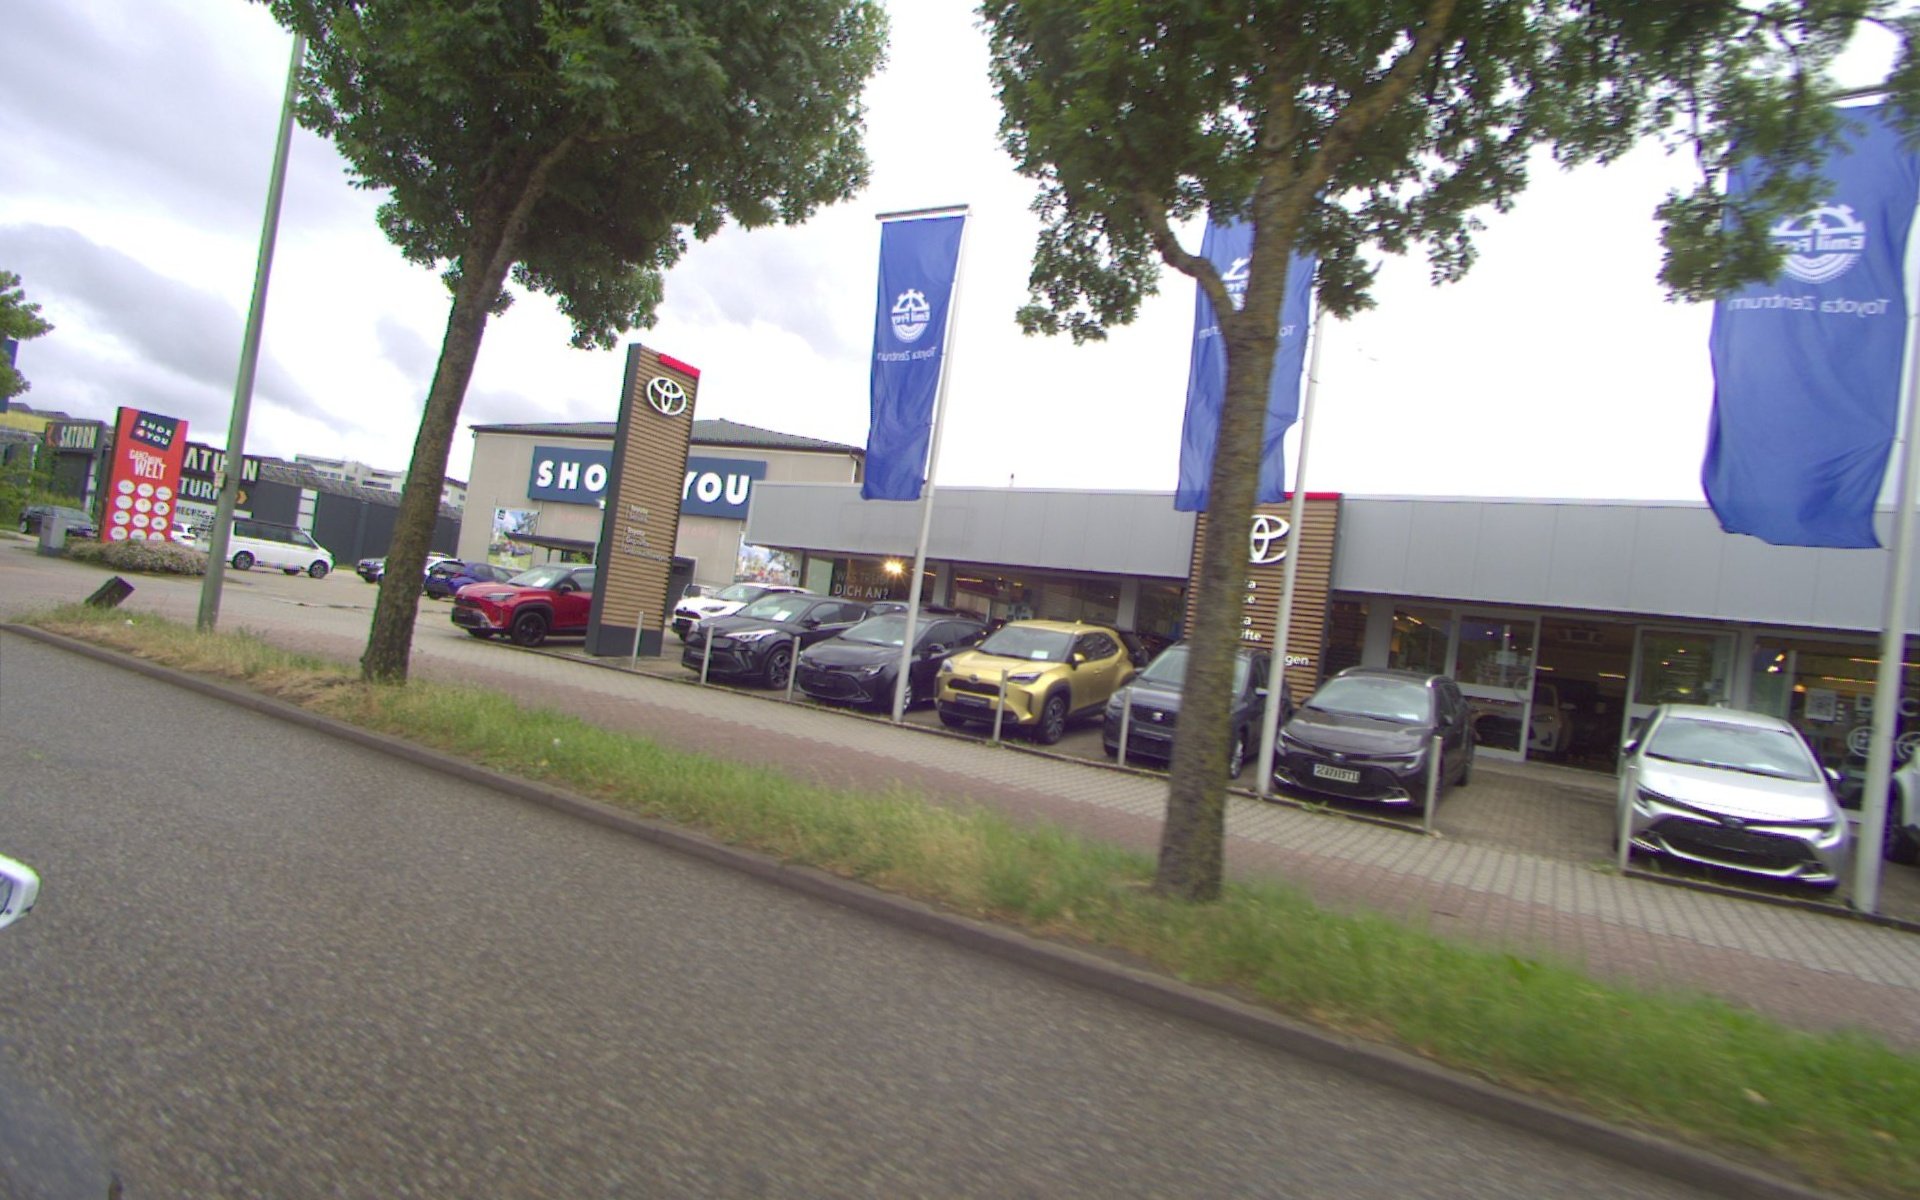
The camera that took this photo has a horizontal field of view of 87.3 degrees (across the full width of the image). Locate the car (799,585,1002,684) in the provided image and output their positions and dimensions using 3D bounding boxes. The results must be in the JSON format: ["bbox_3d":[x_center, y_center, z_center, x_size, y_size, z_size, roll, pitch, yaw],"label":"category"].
[{"bbox_3d":[-1.355,0.751,22.333,4.056,1.641,1.876,7,0,34],"label":"car"}]

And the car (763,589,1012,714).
[{"bbox_3d":[-1.000,0.893,15.981,1.771,1.556,3.993,7,-2,33],"label":"car"}]

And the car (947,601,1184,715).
[{"bbox_3d":[2.022,1.097,19.657,4.056,1.641,1.876,7,0,34],"label":"car"}]

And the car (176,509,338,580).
[{"bbox_3d":[-27.854,-2.152,40.077,1.954,2.037,4.839,7,-2,23],"label":"car"}]

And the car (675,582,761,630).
[{"bbox_3d":[-12.462,0.341,52.100,1.901,1.882,4.259,7,-2,24],"label":"car"}]

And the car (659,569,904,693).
[{"bbox_3d":[-2.961,0.608,17.485,1.815,1.666,3.993,7,-2,33],"label":"car"}]

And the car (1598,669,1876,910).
[{"bbox_3d":[7.986,1.744,10.607,1.783,1.809,3.986,7,1,35],"label":"car"}]

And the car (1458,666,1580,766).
[{"bbox_3d":[11.166,2.292,19.979,1.647,1.553,3.992,7,-2,34],"label":"car"}]

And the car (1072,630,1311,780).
[{"bbox_3d":[3.305,1.342,13.776,1.684,1.567,3.986,7,1,35],"label":"car"}]

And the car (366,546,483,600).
[{"bbox_3d":[-20.797,-1.031,39.202,1.646,1.532,3.652,7,-2,24],"label":"car"}]

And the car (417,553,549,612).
[{"bbox_3d":[-17.213,-0.601,36.505,1.728,1.532,4.001,7,-2,25],"label":"car"}]

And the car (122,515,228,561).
[{"bbox_3d":[-38.346,-3.040,49.130,4.862,1.485,1.887,8,-1,23],"label":"car"}]

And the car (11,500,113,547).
[{"bbox_3d":[-39.177,-3.344,43.879,4.188,1.445,1.583,8,-1,23],"label":"car"}]

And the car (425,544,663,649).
[{"bbox_3d":[-7.946,-0.014,19.533,1.766,1.624,3.843,7,0,33],"label":"car"}]

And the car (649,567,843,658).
[{"bbox_3d":[-4.909,0.332,23.513,1.852,1.641,4.109,7,-1,37],"label":"car"}]

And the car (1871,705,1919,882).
[{"bbox_3d":[10.188,2.055,9.269,1.782,1.609,3.986,8,3,32],"label":"car"}]

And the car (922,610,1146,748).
[{"bbox_3d":[1.222,1.080,14.823,1.639,1.586,3.841,7,1,30],"label":"car"}]

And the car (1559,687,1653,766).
[{"bbox_3d":[15.687,3.045,24.375,1.647,1.553,3.467,7,-2,35],"label":"car"}]

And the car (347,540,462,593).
[{"bbox_3d":[-25.279,-1.484,45.957,1.711,1.749,4.259,7,-2,24],"label":"car"}]

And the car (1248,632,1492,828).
[{"bbox_3d":[5.176,1.416,12.373,1.783,1.810,3.984,7,2,35],"label":"car"}]
